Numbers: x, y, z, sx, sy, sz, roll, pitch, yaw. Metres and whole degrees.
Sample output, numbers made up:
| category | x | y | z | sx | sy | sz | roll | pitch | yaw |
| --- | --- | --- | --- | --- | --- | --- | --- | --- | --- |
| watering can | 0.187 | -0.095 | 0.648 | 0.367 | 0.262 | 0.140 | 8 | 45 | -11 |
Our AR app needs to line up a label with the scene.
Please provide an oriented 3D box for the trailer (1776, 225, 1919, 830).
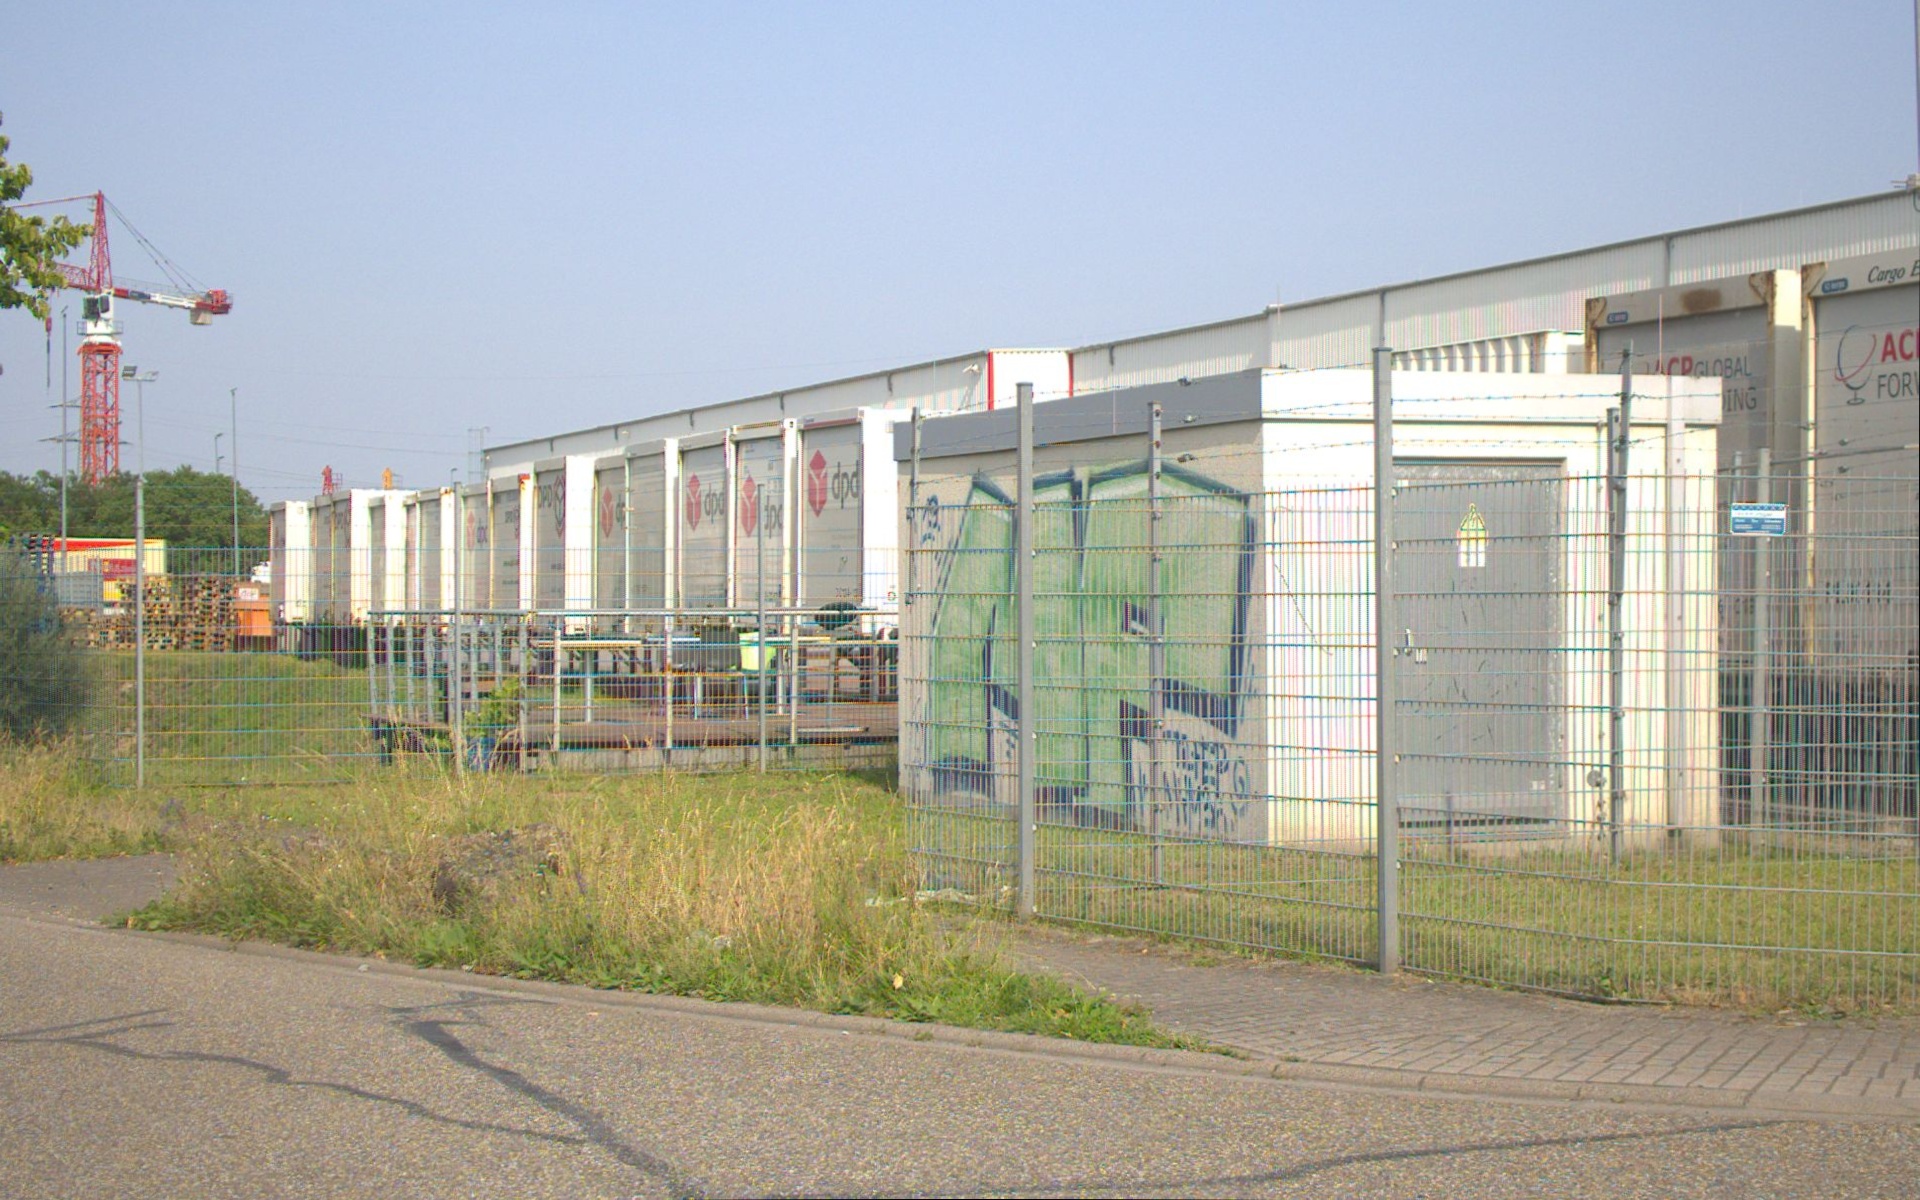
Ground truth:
| category | x | y | z | sx | sy | sz | roll | pitch | yaw |
| --- | --- | --- | --- | --- | --- | --- | --- | --- | --- |
| trailer | 10.109 | -0.419 | 23.675 | 8.533 | 3.881 | 2.776 | 1 | -2 | -19 |

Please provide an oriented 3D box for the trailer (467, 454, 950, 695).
| category | x | y | z | sx | sy | sz | roll | pitch | yaw |
| --- | --- | --- | --- | --- | --- | --- | --- | --- | --- |
| trailer | -4.460 | -0.414 | 61.202 | 7.960 | 3.880 | 2.776 | 2 | 0 | -21 |

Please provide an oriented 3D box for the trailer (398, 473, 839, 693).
| category | x | y | z | sx | sy | sz | roll | pitch | yaw |
| --- | --- | --- | --- | --- | --- | --- | --- | --- | --- |
| trailer | -6.645 | -0.304 | 67.060 | 7.960 | 3.880 | 2.776 | 2 | 0 | -21 |

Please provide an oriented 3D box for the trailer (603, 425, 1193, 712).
| category | x | y | z | sx | sy | sz | roll | pitch | yaw |
| --- | --- | --- | --- | --- | --- | --- | --- | --- | --- |
| trailer | -0.919 | -0.427 | 51.888 | 8.305 | 3.880 | 2.776 | 2 | 0 | -21 |

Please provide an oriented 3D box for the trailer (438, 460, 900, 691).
| category | x | y | z | sx | sy | sz | roll | pitch | yaw |
| --- | --- | --- | --- | --- | --- | --- | --- | --- | --- |
| trailer | -5.414 | -0.419 | 64.033 | 7.960 | 3.880 | 2.776 | 2 | 0 | -21 |

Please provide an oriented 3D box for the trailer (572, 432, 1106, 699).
| category | x | y | z | sx | sy | sz | roll | pitch | yaw |
| --- | --- | --- | --- | --- | --- | --- | --- | --- | --- |
| trailer | -1.955 | -0.515 | 55.732 | 8.030 | 3.880 | 2.776 | 2 | 0 | -21 |

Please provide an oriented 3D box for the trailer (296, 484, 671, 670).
| category | x | y | z | sx | sy | sz | roll | pitch | yaw |
| --- | --- | --- | --- | --- | --- | --- | --- | --- | --- |
| trailer | -10.957 | -0.512 | 79.113 | 7.960 | 3.880 | 2.776 | 2 | 0 | -21 |

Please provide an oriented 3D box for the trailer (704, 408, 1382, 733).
| category | x | y | z | sx | sy | sz | roll | pitch | yaw |
| --- | --- | --- | --- | --- | --- | --- | --- | --- | --- |
| trailer | 1.141 | -0.335 | 46.179 | 8.533 | 3.880 | 2.776 | 2 | 0 | -21 |

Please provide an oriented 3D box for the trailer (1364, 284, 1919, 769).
| category | x | y | z | sx | sy | sz | roll | pitch | yaw |
| --- | --- | --- | --- | --- | --- | --- | --- | --- | --- |
| trailer | 8.025 | -0.487 | 29.413 | 8.729 | 3.748 | 2.791 | 1 | -1 | -21 |

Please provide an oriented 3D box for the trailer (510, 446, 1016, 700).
| category | x | y | z | sx | sy | sz | roll | pitch | yaw |
| --- | --- | --- | --- | --- | --- | --- | --- | --- | --- |
| trailer | -3.327 | -0.422 | 58.403 | 7.960 | 3.880 | 2.776 | 2 | 0 | -21 |

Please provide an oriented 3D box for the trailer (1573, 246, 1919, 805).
| category | x | y | z | sx | sy | sz | roll | pitch | yaw |
| --- | --- | --- | --- | --- | --- | --- | --- | --- | --- |
| trailer | 9.215 | -0.550 | 26.627 | 8.533 | 3.880 | 2.776 | 0 | 0 | -20 |

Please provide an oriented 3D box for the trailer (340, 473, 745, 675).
| category | x | y | z | sx | sy | sz | roll | pitch | yaw |
| --- | --- | --- | --- | --- | --- | --- | --- | --- | --- |
| trailer | -8.869 | -0.528 | 73.144 | 7.960 | 3.880 | 2.776 | 2 | 0 | -21 |

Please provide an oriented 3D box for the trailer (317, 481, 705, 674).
| category | x | y | z | sx | sy | sz | roll | pitch | yaw |
| --- | --- | --- | --- | --- | --- | --- | --- | --- | --- |
| trailer | -9.965 | -0.468 | 76.344 | 7.960 | 3.880 | 2.776 | 2 | 0 | -21 |

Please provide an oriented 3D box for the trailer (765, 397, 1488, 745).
| category | x | y | z | sx | sy | sz | roll | pitch | yaw |
| --- | --- | --- | --- | --- | --- | --- | --- | --- | --- |
| trailer | 2.124 | -0.298 | 43.193 | 8.533 | 3.880 | 2.776 | 2 | 0 | -21 |

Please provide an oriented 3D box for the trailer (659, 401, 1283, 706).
| category | x | y | z | sx | sy | sz | roll | pitch | yaw |
| --- | --- | --- | --- | --- | --- | --- | --- | --- | --- |
| trailer | 0.179 | -0.602 | 49.025 | 8.305 | 3.880 | 2.776 | 2 | 0 | -21 |

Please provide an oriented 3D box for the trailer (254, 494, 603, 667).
| category | x | y | z | sx | sy | sz | roll | pitch | yaw |
| --- | --- | --- | --- | --- | --- | --- | --- | --- | --- |
| trailer | -13.096 | -0.465 | 84.753 | 7.960 | 3.880 | 2.743 | 2 | 0 | -21 |

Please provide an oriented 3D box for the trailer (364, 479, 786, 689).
| category | x | y | z | sx | sy | sz | roll | pitch | yaw |
| --- | --- | --- | --- | --- | --- | --- | --- | --- | --- |
| trailer | -7.860 | -0.299 | 70.257 | 7.960 | 3.880 | 2.776 | 2 | 0 | -21 |
